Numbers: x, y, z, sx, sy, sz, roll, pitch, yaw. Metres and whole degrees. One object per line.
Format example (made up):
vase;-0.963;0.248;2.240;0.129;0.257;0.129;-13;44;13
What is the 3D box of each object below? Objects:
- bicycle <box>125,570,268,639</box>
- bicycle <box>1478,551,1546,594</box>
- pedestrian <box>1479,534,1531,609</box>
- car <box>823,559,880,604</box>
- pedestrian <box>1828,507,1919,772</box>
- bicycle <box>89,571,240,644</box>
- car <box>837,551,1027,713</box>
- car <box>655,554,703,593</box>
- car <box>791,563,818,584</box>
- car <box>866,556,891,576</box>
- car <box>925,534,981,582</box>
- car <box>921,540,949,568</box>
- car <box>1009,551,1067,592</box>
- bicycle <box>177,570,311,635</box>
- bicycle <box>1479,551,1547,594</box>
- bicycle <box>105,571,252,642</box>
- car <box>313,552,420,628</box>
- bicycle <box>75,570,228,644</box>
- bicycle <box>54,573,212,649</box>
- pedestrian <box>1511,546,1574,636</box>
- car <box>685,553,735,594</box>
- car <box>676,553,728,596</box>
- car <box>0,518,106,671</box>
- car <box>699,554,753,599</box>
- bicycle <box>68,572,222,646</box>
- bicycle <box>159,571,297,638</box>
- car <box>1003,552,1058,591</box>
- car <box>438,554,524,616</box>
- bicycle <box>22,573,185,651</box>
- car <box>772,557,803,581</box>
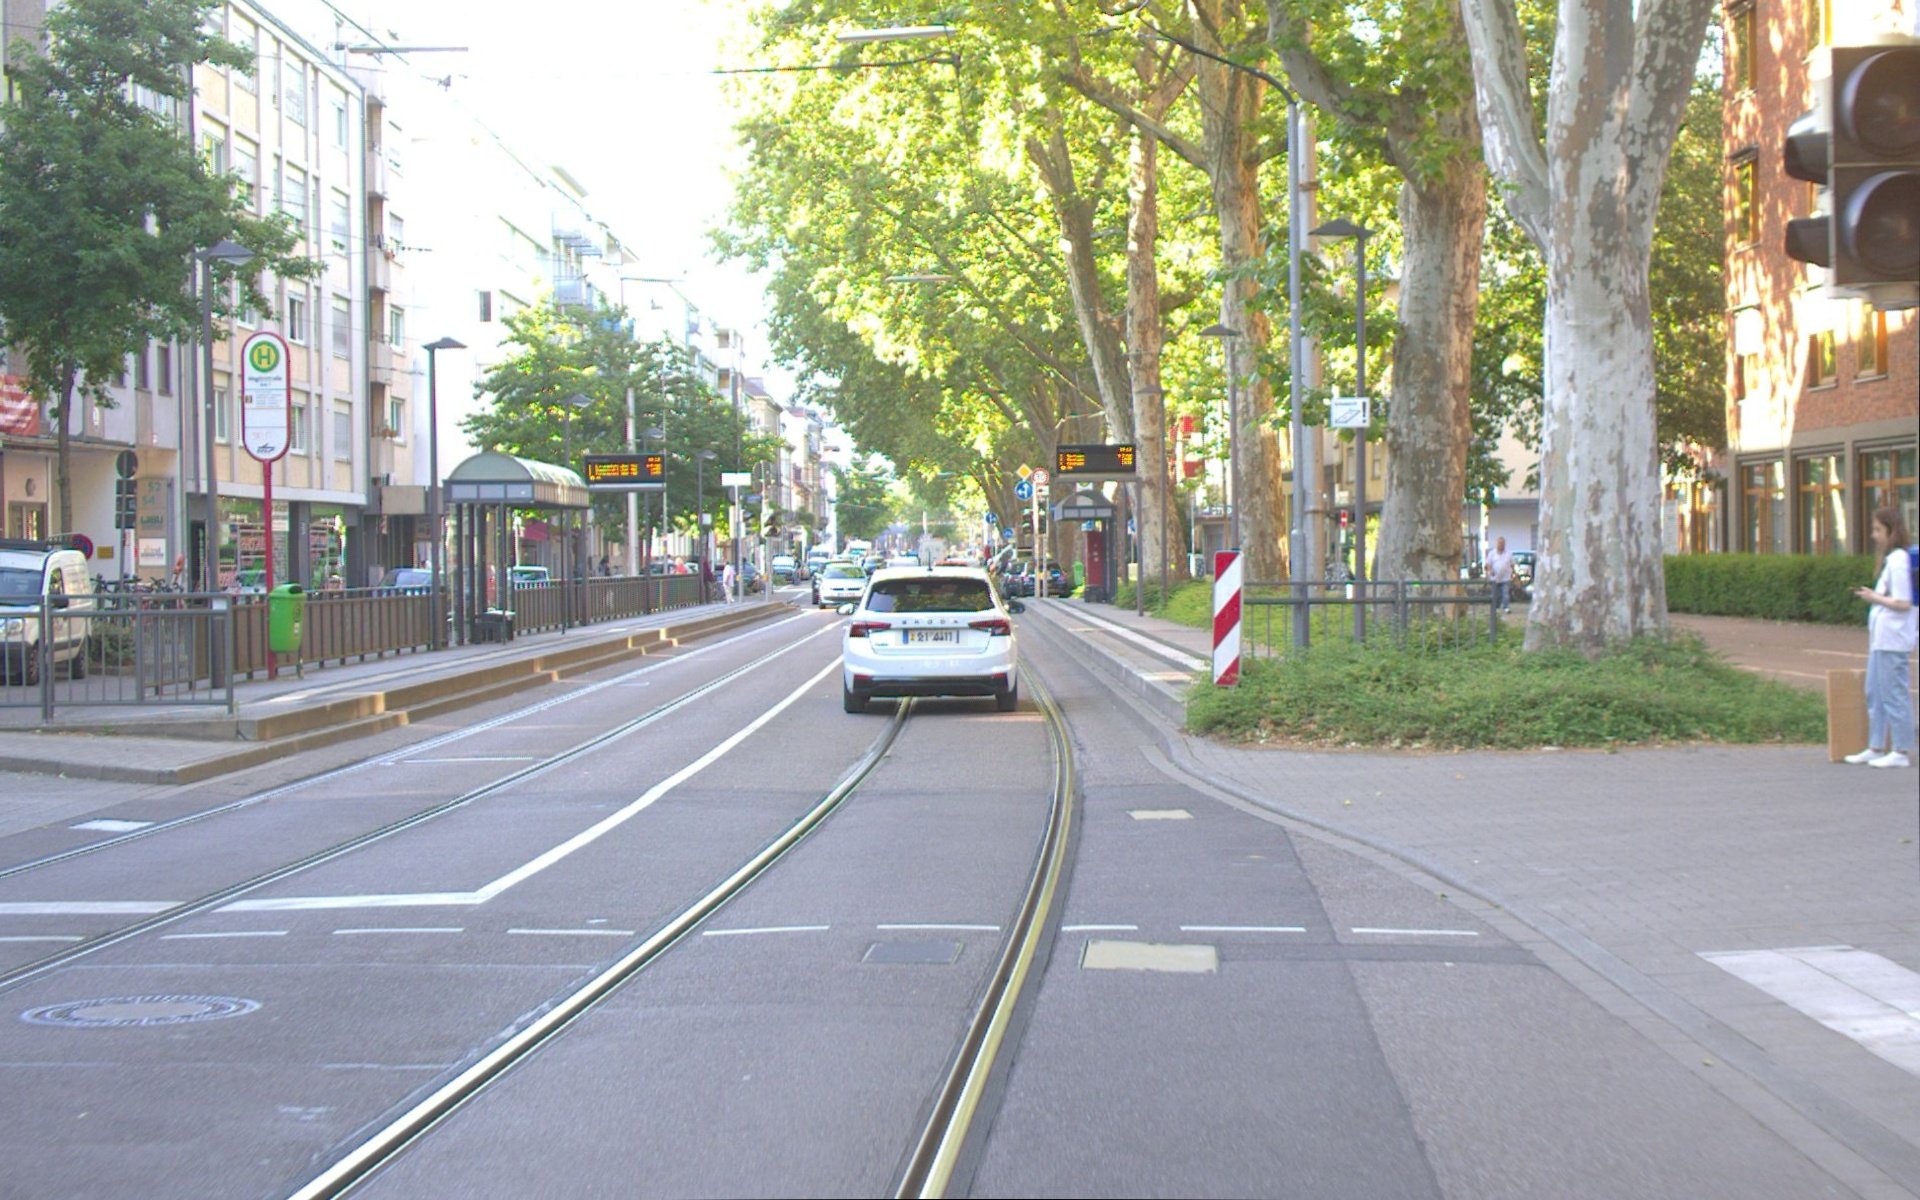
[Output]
bicycle;-13.026;0.080;58.685;2.253;1.070;0.636;2;1;1
bicycle;13.426;-0.672;83.595;1.567;1.034;0.479;-1;1;22
pedestrian;11.860;-0.620;74.819;0.972;1.618;0.887;-1;1;0
car;-3.532;-0.617;112.357;1.694;1.414;4.000;-1;1;0
pedestrian;5.997;0.242;22.039;0.652;1.663;0.738;-1;1;0
bicycle;-12.881;0.118;55.673;2.253;1.070;0.636;2;1;1
car;-0.270;0.274;34.784;1.788;1.508;4.000;-1;1;0
car;-11.776;-1.134;144.399;1.678;1.543;4.000;1;1;0
car;-11.570;-1.997;256.055;1.788;1.508;4.000;-1;1;0
car;-6.165;-2.580;260.200;1.788;1.508;4.000;-1;1;0
car;-0.239;-1.396;113.269;1.788;1.508;4.000;-1;1;0
car;-1.670;-3.120;234.183;1.866;1.886;4.000;-1;1;0
car;2.861;-1.048;126.661;1.993;1.448;4.000;-1;1;0
bicycle;-12.920;0.048;62.086;2.253;1.070;0.636;2;1;1
bicycle;13.593;-0.686;84.509;1.567;1.034;0.504;-1;1;22
bicycle;-12.943;0.098;56.938;2.253;1.070;0.636;2;1;1
car;-12.787;-0.230;74.263;1.593;1.543;4.000;1;1;0
bicycle;-12.939;0.109;55.034;2.253;1.070;0.636;2;1;1
bicycle;-12.804;0.170;53.239;2.253;1.070;0.636;2;1;1
pedestrian;10.693;-0.166;63.151;0.972;1.618;0.887;-1;1;0
car;-9.911;-1.051;136.631;1.678;1.543;4.000;1;1;0
car;-9.927;-0.996;132.437;1.678;1.543;4.000;1;1;0
car;-12.673;-0.093;45.580;1.688;1.933;4.000;-1;1;0
car;-8.493;-0.861;124.876;1.678;1.543;4.000;1;1;0
bicycle;-12.903;0.143;54.444;2.253;1.070;0.636;2;1;1
bicycle;-12.881;0.069;60.514;2.253;1.070;0.636;2;1;1
car;2.672;-1.112;131.749;1.993;1.448;4.000;-1;1;0
car;-12.584;-0.422;90.448;1.678;1.543;4.000;1;1;0
bicycle;-12.848;0.179;51.592;2.253;1.070;0.636;2;1;1
car;-11.060;-1.984;220.958;1.788;1.508;4.000;-1;1;0
